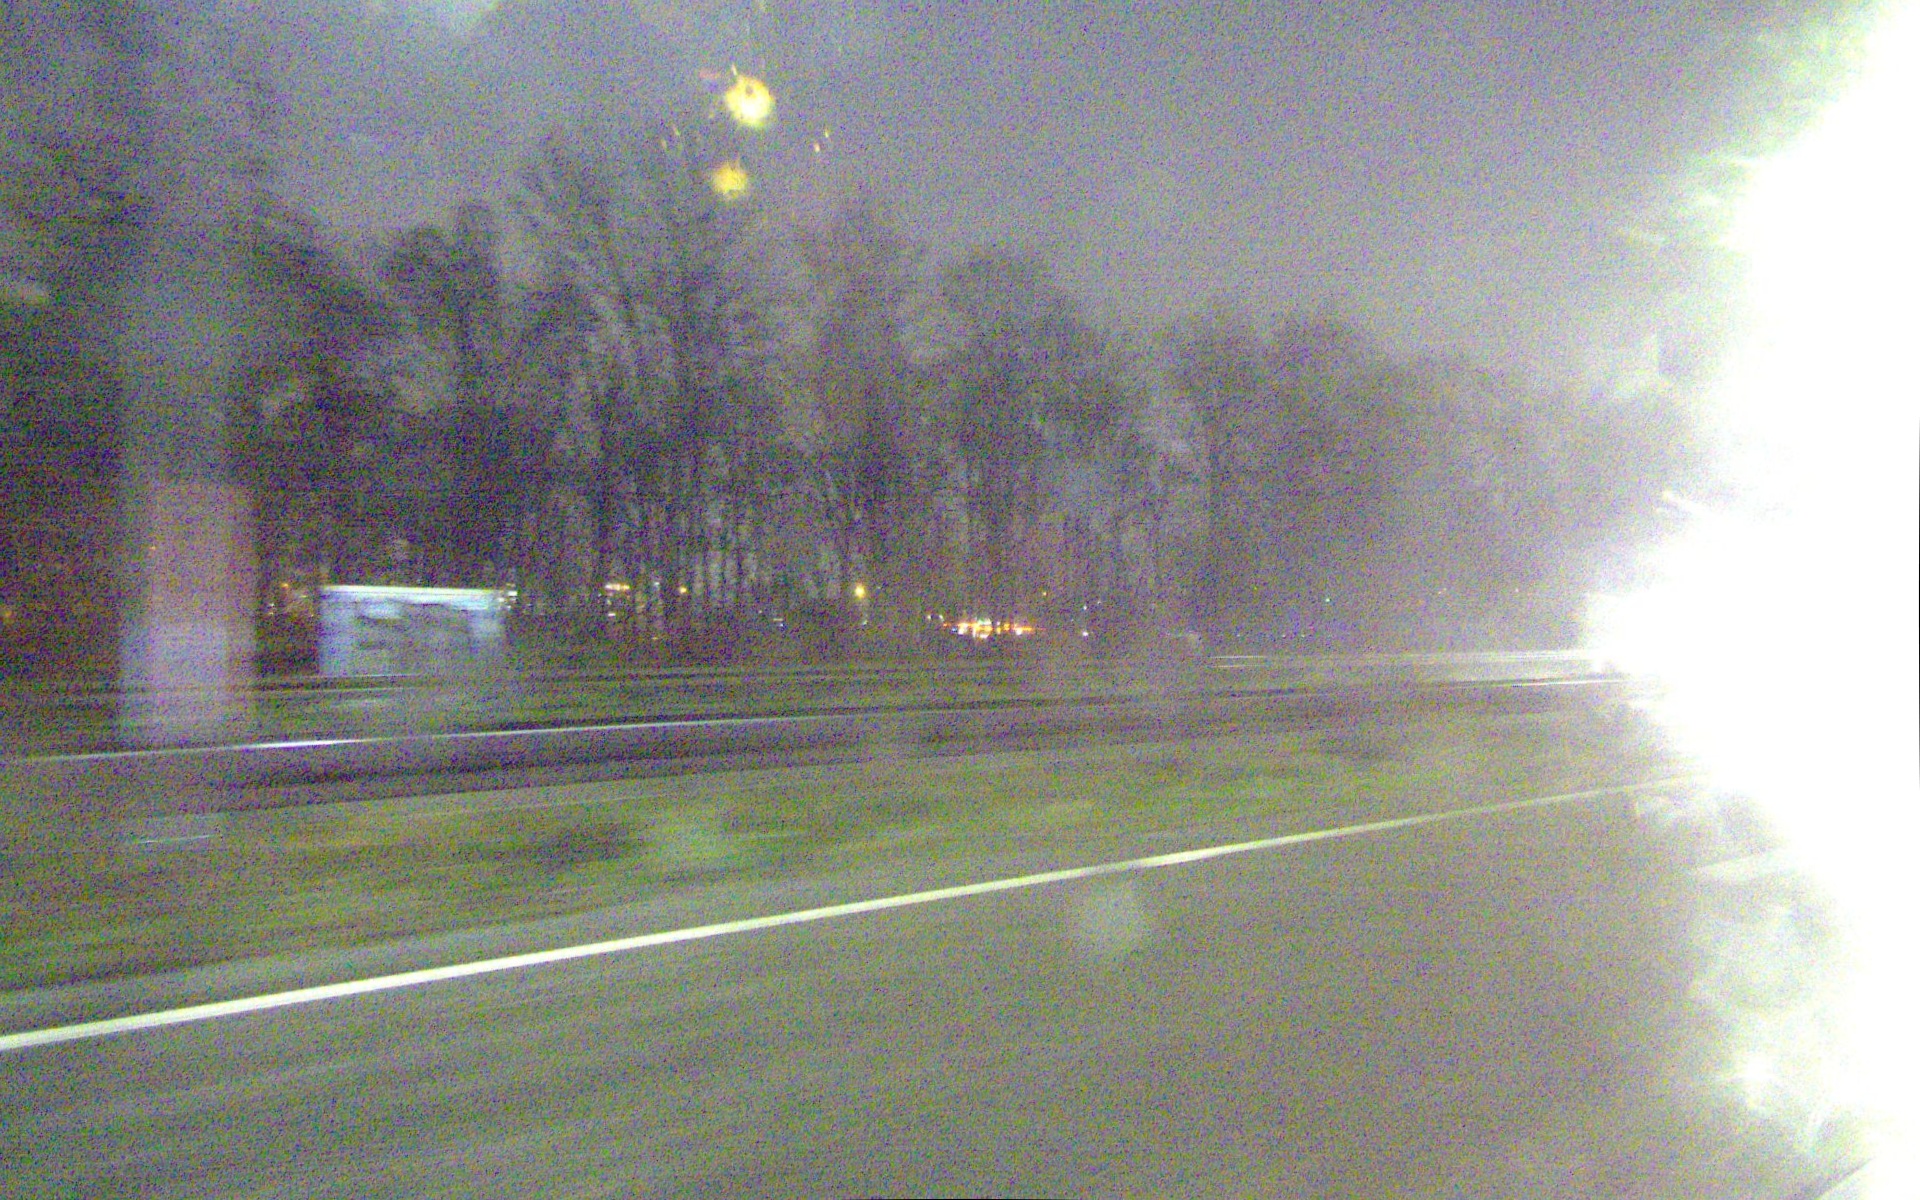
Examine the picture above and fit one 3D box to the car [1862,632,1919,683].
[{"bbox_3d":[32.025,1.929,33.612,3.789,1.572,1.592,2,1,-30],"label":"car"}]
